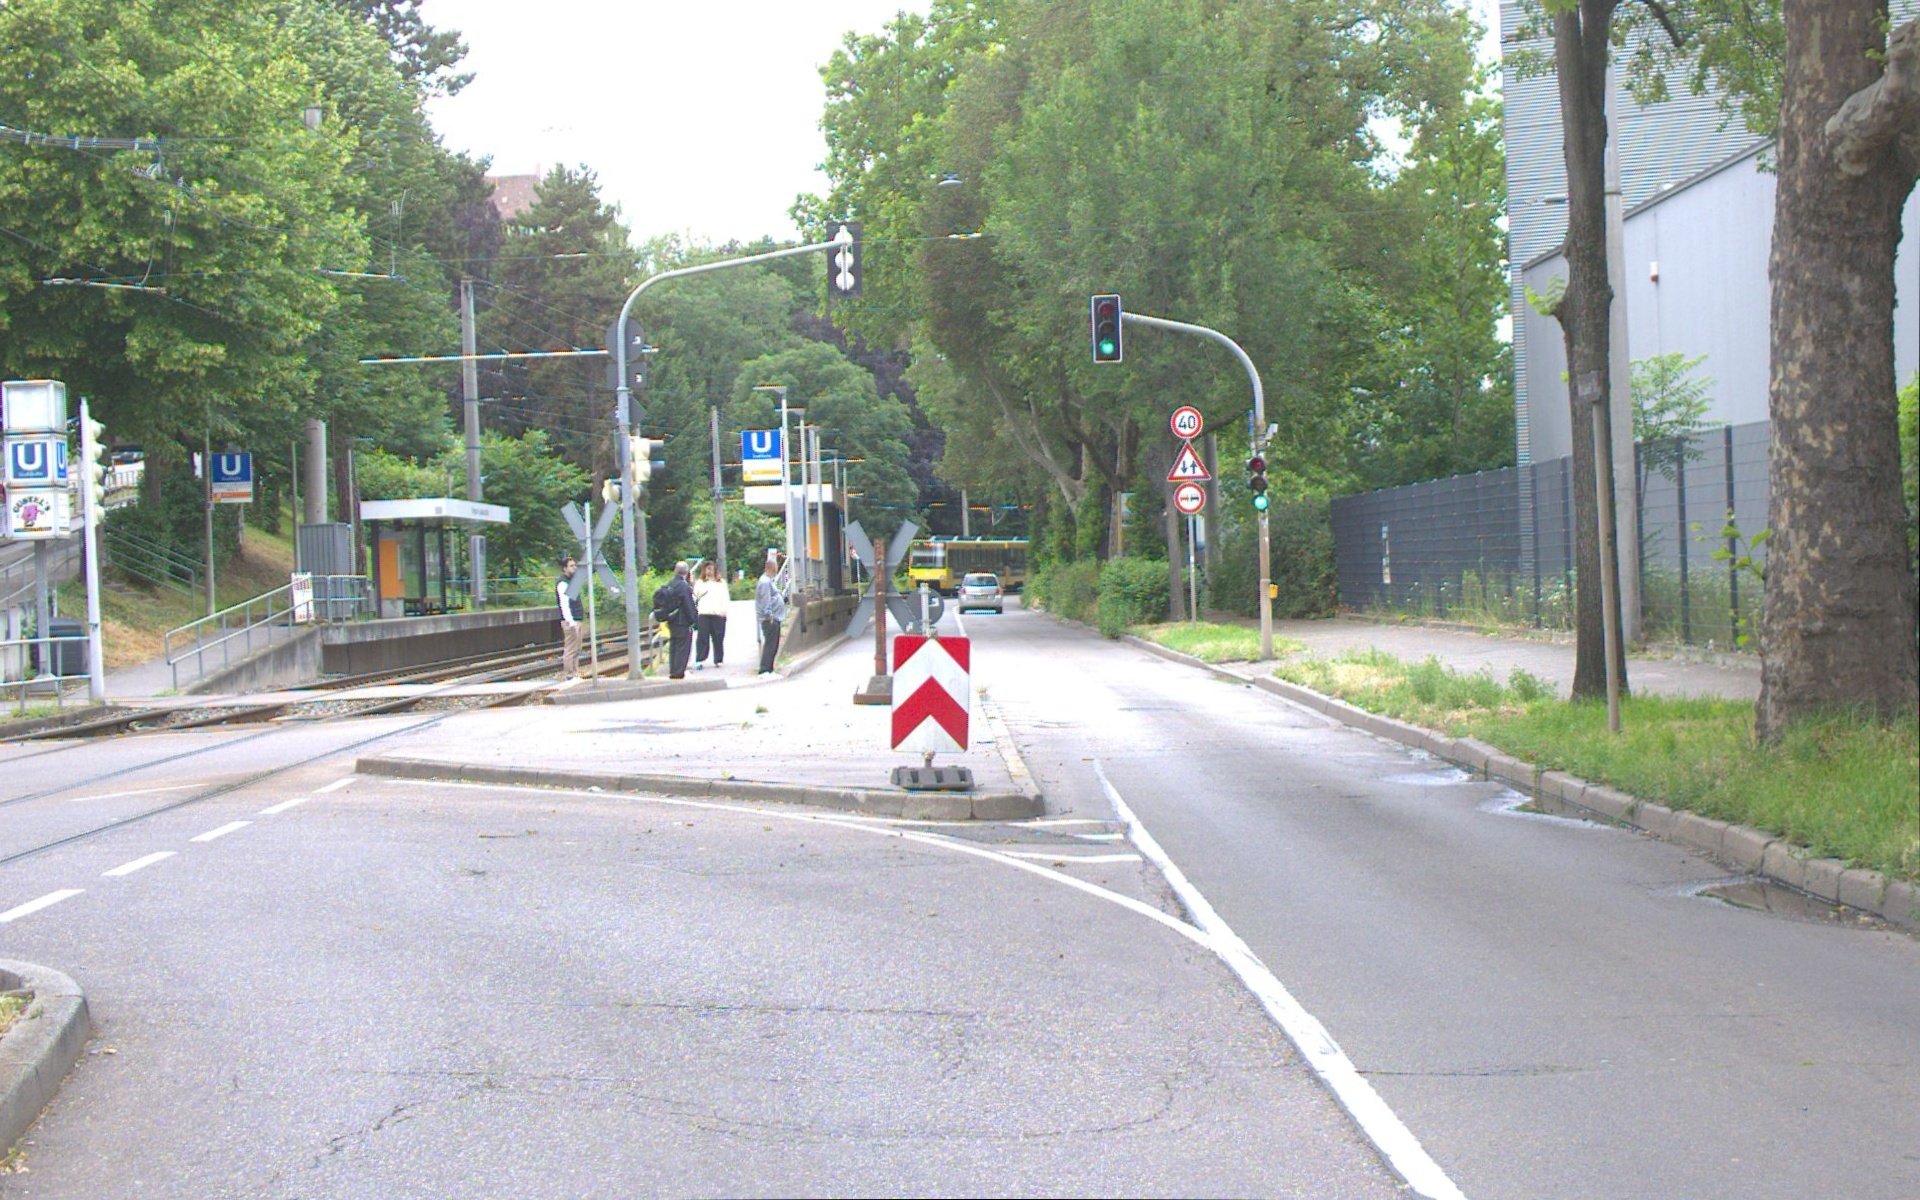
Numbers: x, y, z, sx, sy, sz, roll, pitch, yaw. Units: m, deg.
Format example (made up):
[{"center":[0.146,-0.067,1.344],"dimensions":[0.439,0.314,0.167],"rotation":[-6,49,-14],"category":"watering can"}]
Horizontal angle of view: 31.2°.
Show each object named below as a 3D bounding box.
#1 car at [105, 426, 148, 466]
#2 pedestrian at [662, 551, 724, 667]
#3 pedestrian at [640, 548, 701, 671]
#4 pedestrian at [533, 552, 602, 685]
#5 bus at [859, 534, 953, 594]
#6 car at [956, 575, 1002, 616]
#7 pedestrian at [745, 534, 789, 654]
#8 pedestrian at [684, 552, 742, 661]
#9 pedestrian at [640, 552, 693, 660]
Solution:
[{"center":[-47.557,-8.780,196.136],"dimensions":[1.993,2.138,4.001],"rotation":[1,0,-8],"category":"car"},{"center":[-3.863,0.125,49.760],"dimensions":[0.680,1.659,0.737],"rotation":[1,0,15],"category":"pedestrian"},{"center":[-3.950,0.127,46.929],"dimensions":[0.735,1.659,0.682],"rotation":[1,0,1],"category":"pedestrian"},{"center":[-5.407,0.254,47.378],"dimensions":[0.802,1.815,0.671],"rotation":[1,0,-19],"category":"pedestrian"},{"center":[-3.274,-2.219,212.233],"dimensions":[2.737,3.614,8.933],"rotation":[1,0,20],"category":"bus"},{"center":[0.739,-0.198,137.874],"dimensions":[1.743,1.593,4.000],"rotation":[1,0,-1],"category":"car"},{"center":[-2.847,-0.088,50.740],"dimensions":[0.550,1.752,0.737],"rotation":[1,0,4],"category":"pedestrian"},{"center":[-3.783,0.095,52.566],"dimensions":[0.735,1.659,0.682],"rotation":[1,0,-16],"category":"pedestrian"},{"center":[-4.568,0.084,53.498],"dimensions":[0.735,1.659,0.682],"rotation":[1,0,-11],"category":"pedestrian"}]
